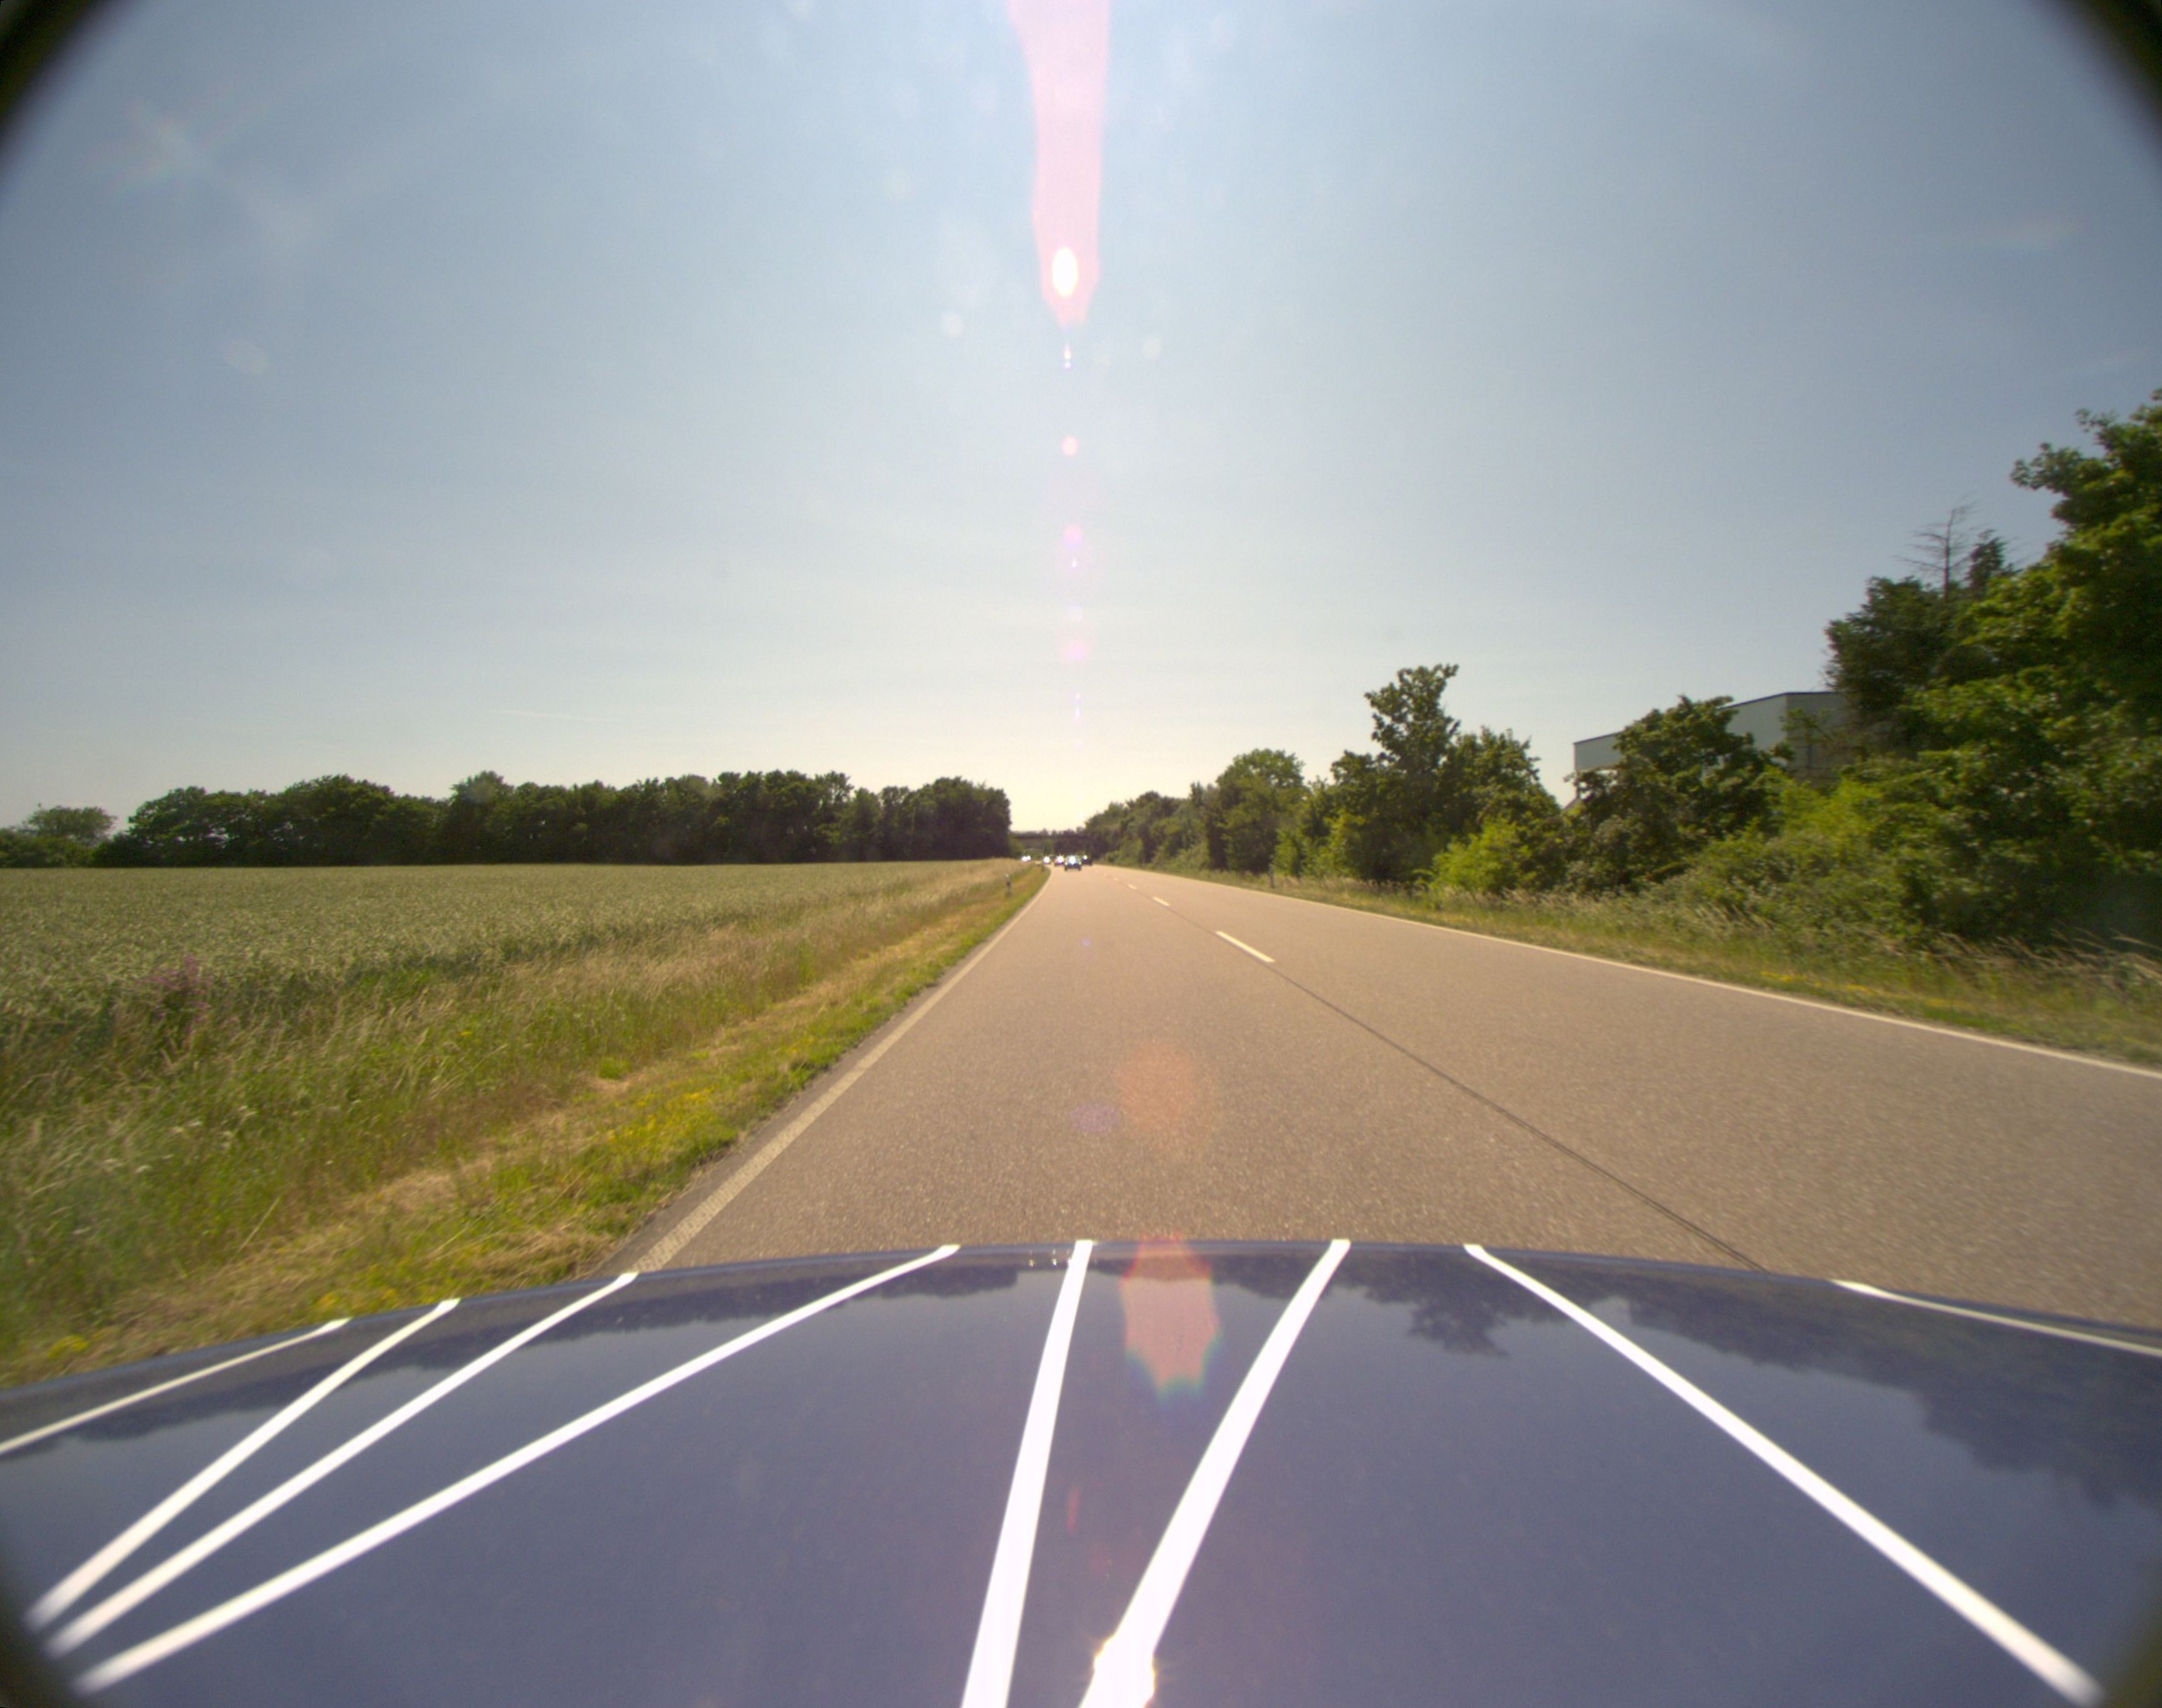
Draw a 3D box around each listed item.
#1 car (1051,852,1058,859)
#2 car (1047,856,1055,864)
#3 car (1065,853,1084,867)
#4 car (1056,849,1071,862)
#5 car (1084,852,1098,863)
[{"bbox_3d":[-7.150,0.300,206.817,1.768,1.808,4.802,1,0,-4],"label":"car"},{"bbox_3d":[-6.509,1.319,163.416,1.554,1.659,3.999,-3,1,-2],"label":"car"},{"bbox_3d":[-0.684,0.626,81.416,1.694,1.431,3.708,-2,0,-5],"label":"car"},{"bbox_3d":[-2.724,0.258,118.484,1.999,2.002,3.998,-2,0,-5],"label":"car"},{"bbox_3d":[1.444,0.464,110.206,1.805,1.442,4.531,-2,0,-2],"label":"car"}]
